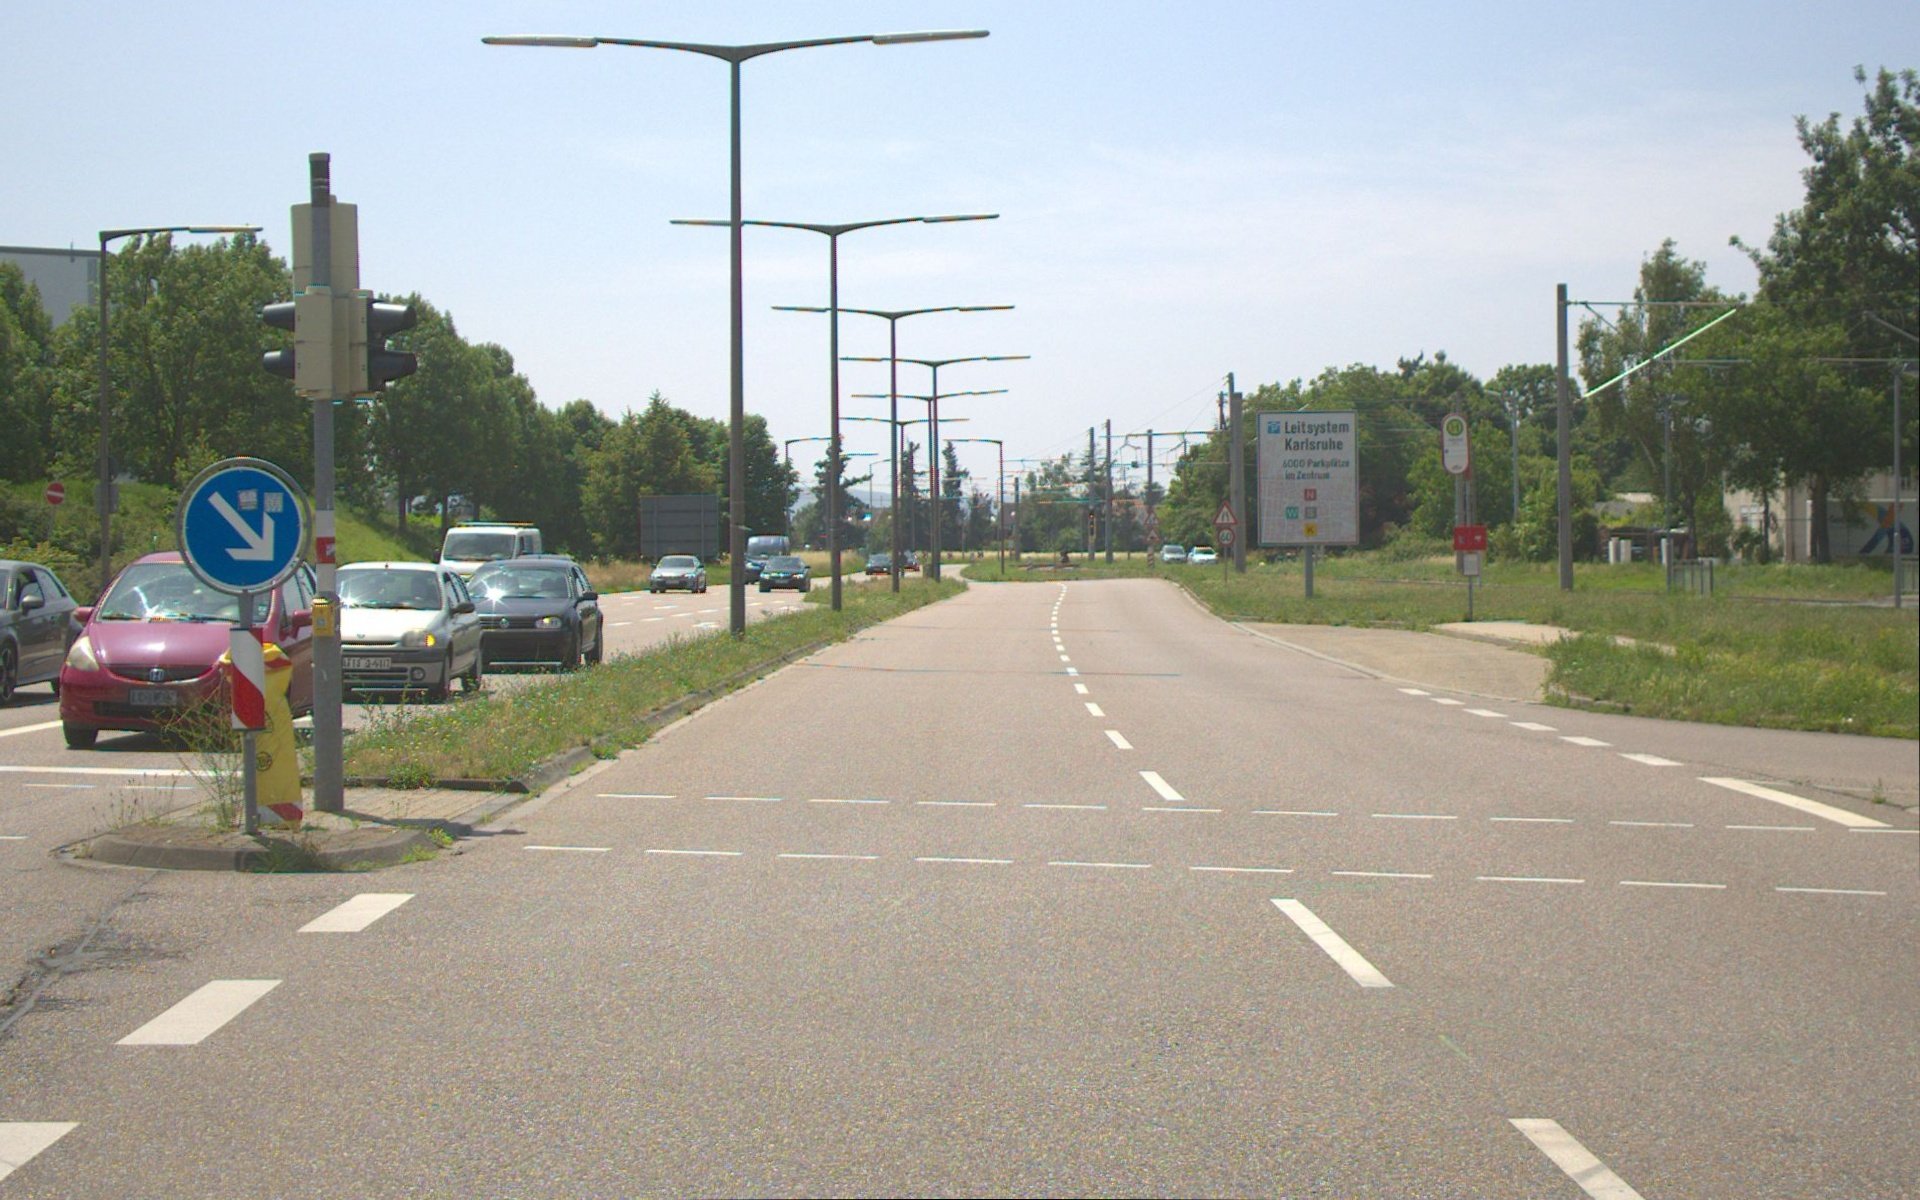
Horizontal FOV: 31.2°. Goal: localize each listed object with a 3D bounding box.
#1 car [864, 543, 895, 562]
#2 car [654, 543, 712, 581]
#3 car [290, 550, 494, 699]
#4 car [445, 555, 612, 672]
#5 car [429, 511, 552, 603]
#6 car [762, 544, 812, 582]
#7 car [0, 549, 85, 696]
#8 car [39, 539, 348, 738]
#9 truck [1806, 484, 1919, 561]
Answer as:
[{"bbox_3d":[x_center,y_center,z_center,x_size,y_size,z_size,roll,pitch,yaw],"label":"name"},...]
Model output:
[{"bbox_3d":[-5.917,-3.501,252.121,1.993,1.355,4.666,-2,1,1],"label":"car"},{"bbox_3d":[-10.665,-1.482,132.722,1.831,1.444,4.851,0,1,0],"label":"car"},{"bbox_3d":[-5.893,0.216,35.997,1.560,1.418,3.854,0,1,-1],"label":"car"},{"bbox_3d":[-5.576,0.139,44.845,1.676,1.429,4.191,0,1,0],"label":"car"},{"bbox_3d":[-12.003,-1.103,88.200,2.249,2.265,5.449,1,1,1],"label":"car"},{"bbox_3d":[-6.880,-1.481,136.970,1.731,1.453,4.564,0,1,1],"label":"car"},{"bbox_3d":[-9.980,0.192,34.168,1.596,1.380,4.004,1,1,-1],"label":"car"},{"bbox_3d":[-6.106,0.255,27.778,1.658,1.485,4.000,0,1,-1],"label":"car"},{"bbox_3d":[36.259,-3.043,133.975,5.839,2.833,2.321,-2,0,-6],"label":"truck"}]
